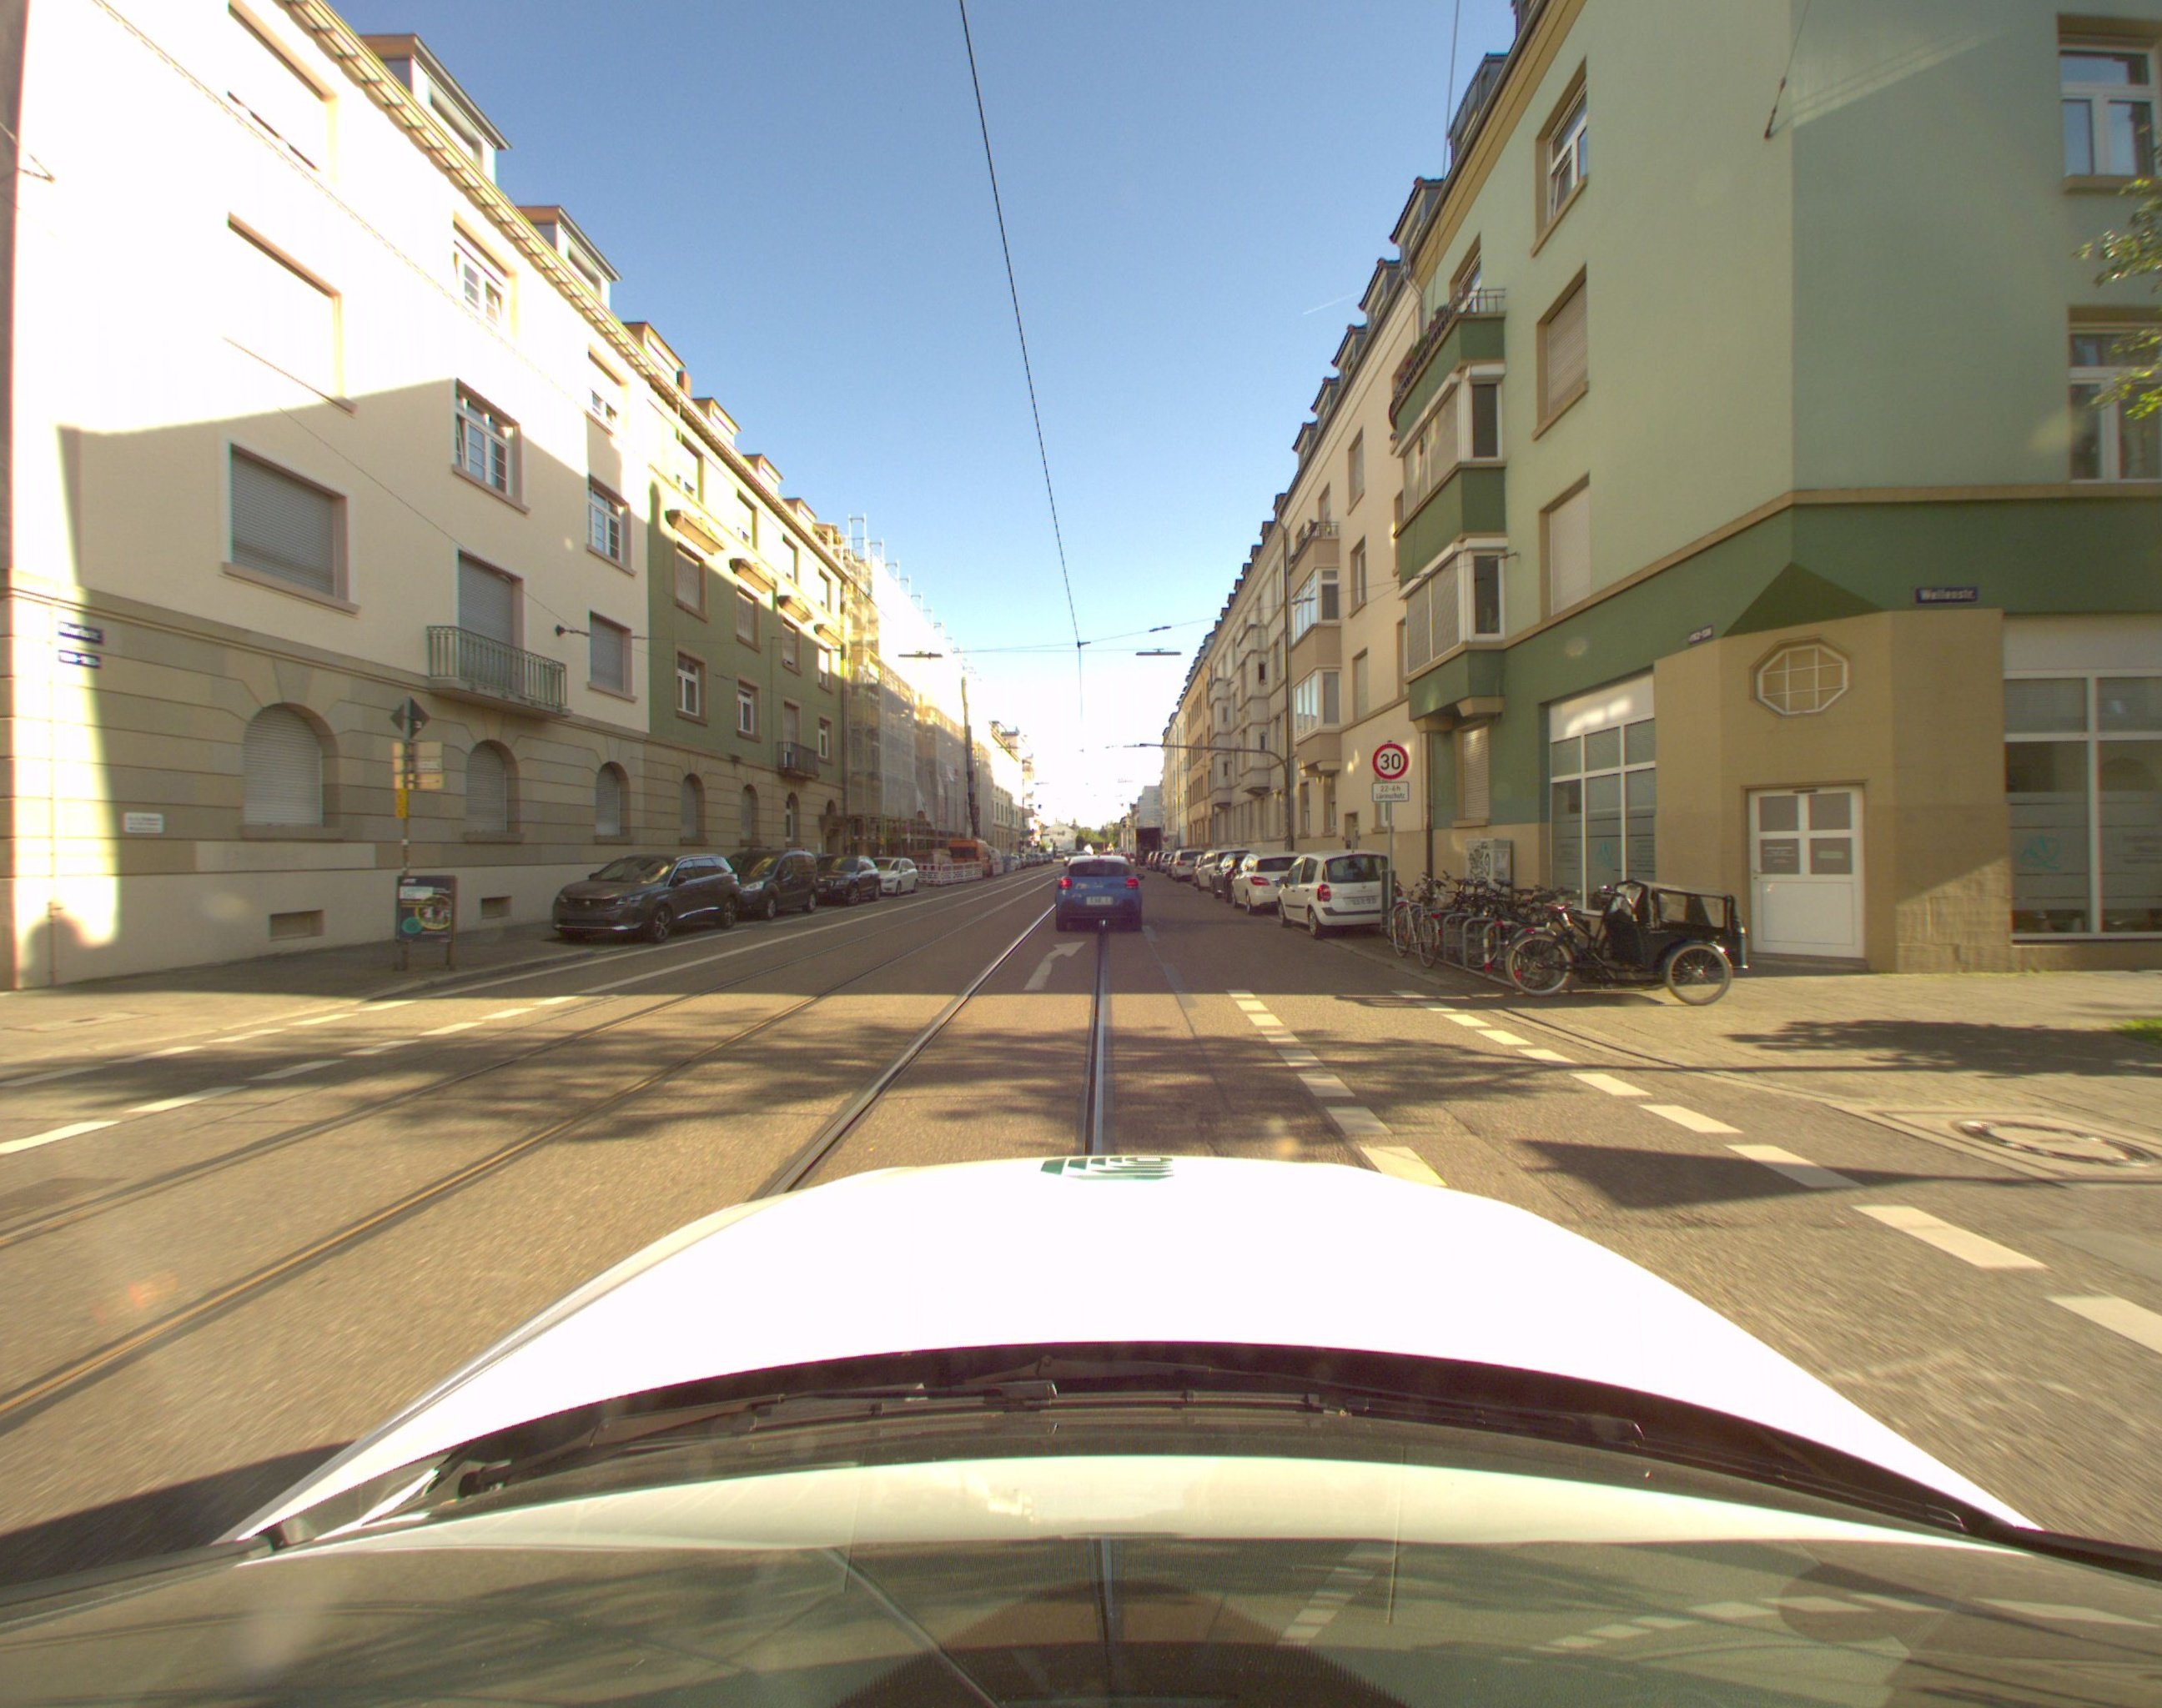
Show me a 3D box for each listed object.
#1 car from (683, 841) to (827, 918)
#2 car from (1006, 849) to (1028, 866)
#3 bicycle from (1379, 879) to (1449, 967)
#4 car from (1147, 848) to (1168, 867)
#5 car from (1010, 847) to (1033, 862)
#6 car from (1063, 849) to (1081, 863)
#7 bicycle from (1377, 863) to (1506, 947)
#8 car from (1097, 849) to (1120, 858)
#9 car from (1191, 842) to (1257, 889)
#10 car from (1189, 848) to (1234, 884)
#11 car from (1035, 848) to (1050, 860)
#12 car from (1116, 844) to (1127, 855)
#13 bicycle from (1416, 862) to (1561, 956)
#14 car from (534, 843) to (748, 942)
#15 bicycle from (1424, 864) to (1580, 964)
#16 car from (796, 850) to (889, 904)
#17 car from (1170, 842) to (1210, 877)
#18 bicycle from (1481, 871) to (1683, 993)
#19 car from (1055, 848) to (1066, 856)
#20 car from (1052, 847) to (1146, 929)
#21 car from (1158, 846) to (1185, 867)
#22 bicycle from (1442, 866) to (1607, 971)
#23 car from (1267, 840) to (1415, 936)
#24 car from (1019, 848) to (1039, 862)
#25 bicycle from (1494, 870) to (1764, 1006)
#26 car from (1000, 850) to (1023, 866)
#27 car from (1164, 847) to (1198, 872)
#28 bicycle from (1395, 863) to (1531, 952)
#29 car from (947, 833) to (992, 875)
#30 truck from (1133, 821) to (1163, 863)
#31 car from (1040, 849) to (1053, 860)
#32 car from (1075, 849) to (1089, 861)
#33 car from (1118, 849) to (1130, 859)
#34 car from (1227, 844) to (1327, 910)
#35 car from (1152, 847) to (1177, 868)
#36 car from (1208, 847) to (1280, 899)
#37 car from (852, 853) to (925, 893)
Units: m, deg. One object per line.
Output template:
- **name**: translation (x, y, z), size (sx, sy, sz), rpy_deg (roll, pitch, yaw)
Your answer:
- **car**: translation (-8.485, 0.587, 21.683), size (1.776, 1.816, 4.531), rpy_deg (1, 1, 3)
- **car**: translation (-6.569, 0.346, 83.864), size (1.707, 1.594, 4.269), rpy_deg (-1, 0, 2)
- **bicycle**: translation (4.532, 0.903, 11.170), size (0.351, 1.044, 1.730), rpy_deg (-1, 1, 4)
- **car**: translation (6.655, 0.272, 71.263), size (1.657, 1.633, 3.873), rpy_deg (-1, 0, 2)
- **car**: translation (-6.703, 0.058, 91.991), size (2.137, 1.621, 4.001), rpy_deg (-1, 1, 1)
- **car**: translation (-1.039, 0.206, 94.880), size (1.819, 1.631, 4.493), rpy_deg (-1, 0, 2)
- **bicycle**: translation (5.550, 0.780, 12.595), size (1.716, 1.154, 0.469), rpy_deg (-4, 0, 2)
- **car**: translation (4.787, -0.157, 141.819), size (4.008, 1.486, 1.759), rpy_deg (-1, 0, -3)
- **car**: translation (5.661, 0.422, 32.786), size (1.651, 1.752, 4.599), rpy_deg (-1, 0, -2)
- **car**: translation (5.925, 0.523, 37.251), size (1.608, 1.560, 3.602), rpy_deg (-1, 0, 2)
- **car**: translation (-5.569, -0.010, 117.831), size (1.819, 1.631, 3.907), rpy_deg (-1, 0, 2)
- **car**: translation (8.871, -1.064, 179.306), size (2.211, 2.284, 4.086), rpy_deg (-1, 0, 2)
- **bicycle**: translation (5.653, 0.755, 11.343), size (1.716, 1.154, 0.469), rpy_deg (-4, 0, 2)
- **car**: translation (-8.621, 0.653, 16.518), size (1.777, 1.690, 4.667), rpy_deg (1, 1, 0)
- **bicycle**: translation (5.490, 0.770, 10.667), size (1.716, 1.154, 0.469), rpy_deg (-4, 0, 2)
- **car**: translation (-8.024, 0.696, 27.814), size (1.777, 1.626, 4.608), rpy_deg (1, 1, 0)
- **car**: translation (5.946, 0.265, 44.912), size (1.724, 1.827, 4.689), rpy_deg (-1, 0, 2)
- **bicycle**: translation (5.434, 0.837, 8.882), size (1.835, 1.154, 0.469), rpy_deg (-4, 0, 2)
- **car**: translation (-4.324, -0.530, 172.760), size (1.894, 1.631, 4.269), rpy_deg (-1, 0, 2)
- **car**: translation (0.411, 0.613, 17.333), size (1.728, 1.507, 3.994), rpy_deg (1, 1, 2)
- **car**: translation (6.655, 0.157, 60.391), size (1.657, 1.519, 4.224), rpy_deg (-1, 0, 2)
- **bicycle**: translation (5.489, 0.788, 10.119), size (1.716, 1.154, 0.469), rpy_deg (-4, 0, 2)
- **car**: translation (4.958, 0.578, 16.106), size (1.777, 1.632, 4.002), rpy_deg (-1, 0, 2)
- **car**: translation (-6.214, 0.078, 97.759), size (1.819, 1.631, 4.851), rpy_deg (-1, 0, 2)
- **bicycle**: translation (5.429, 0.812, 8.177), size (2.078, 1.154, 0.849), rpy_deg (-3, 0, 2)
- **car**: translation (-6.764, 0.372, 79.528), size (1.707, 1.518, 4.050), rpy_deg (-1, 0, 2)
- **car**: translation (6.193, 0.299, 50.680), size (1.716, 1.486, 4.224), rpy_deg (-1, 0, 2)
- **bicycle**: translation (5.593, 0.777, 11.967), size (1.716, 1.154, 0.469), rpy_deg (-4, 0, 2)
- **car**: translation (-6.989, -0.026, 51.547), size (2.138, 2.475, 4.979), rpy_deg (0, 0, 0)
- **truck**: translation (7.084, -1.247, 86.963), size (2.841, 4.083, 11.280), rpy_deg (-1, 0, 3)
- **car**: translation (-5.241, 0.017, 123.805), size (1.820, 1.631, 3.904), rpy_deg (-1, 0, -1)
- **car**: translation (0.156, 0.096, 114.171), size (1.894, 1.631, 4.269), rpy_deg (-1, 0, 2)
- **car**: translation (6.367, -0.027, 120.413), size (1.758, 1.486, 4.034), rpy_deg (-1, 0, 2)
- **car**: translation (5.112, 0.548, 21.819), size (1.777, 1.576, 4.329), rpy_deg (-1, 0, 2)
- **car**: translation (6.651, 0.268, 65.238), size (1.657, 1.647, 4.224), rpy_deg (-1, 0, 2)
- **car**: translation (5.331, 0.563, 27.113), size (1.648, 1.566, 4.341), rpy_deg (-1, 0, 2)
- **car**: translation (-7.921, 0.728, 33.853), size (1.711, 1.502, 4.392), rpy_deg (1, 1, 3)
